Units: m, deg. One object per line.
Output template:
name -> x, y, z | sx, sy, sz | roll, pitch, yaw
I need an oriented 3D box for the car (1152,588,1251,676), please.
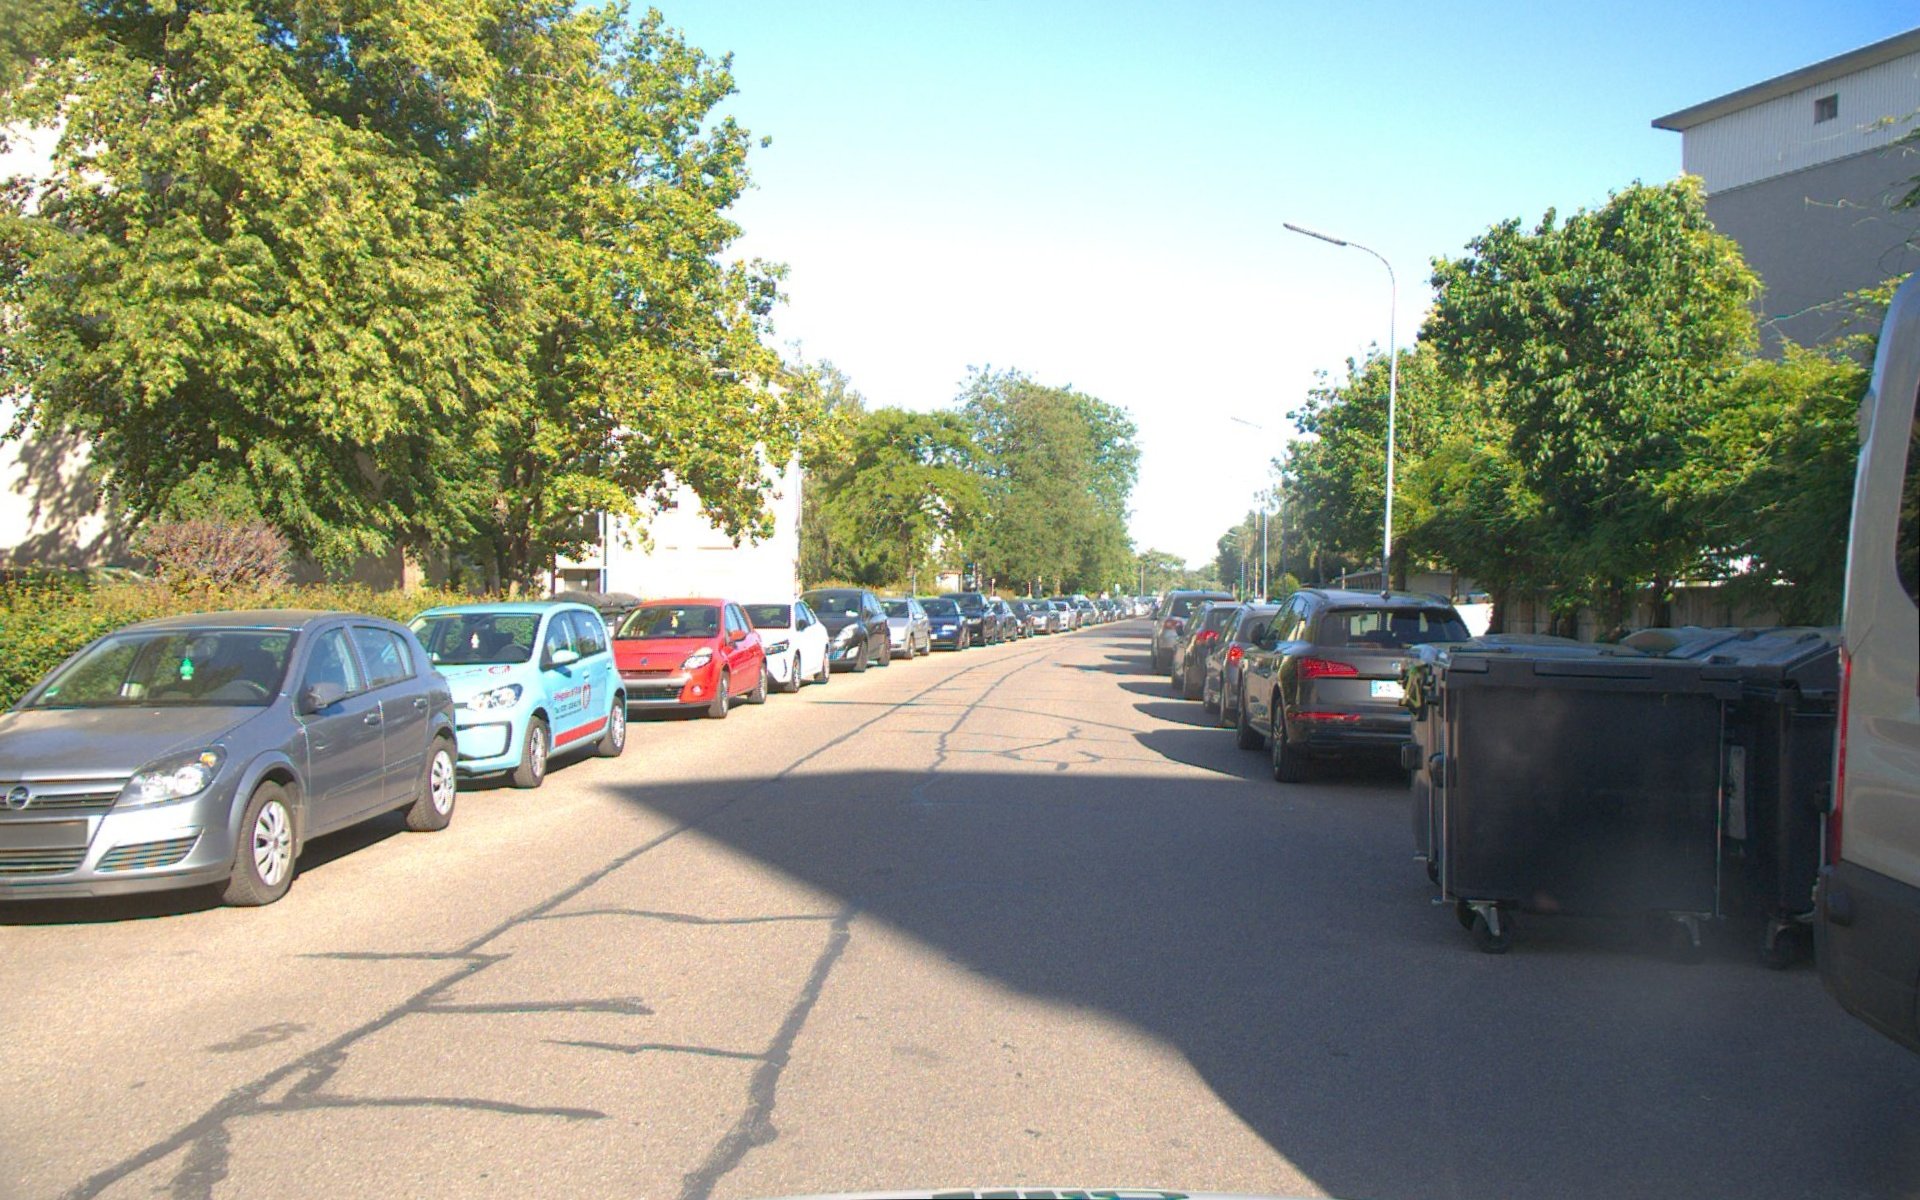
car -> 4.861, 0.600, 33.782 | 1.693, 1.647, 4.236 | 1, 0, 4

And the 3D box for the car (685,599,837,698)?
car -> -3.160, 0.742, 27.014 | 1.635, 1.446, 3.904 | -1, 0, 6

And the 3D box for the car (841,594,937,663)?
car -> -1.660, 0.651, 40.075 | 1.625, 1.512, 4.056 | -2, 0, 7

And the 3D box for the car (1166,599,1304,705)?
car -> 4.319, 0.766, 26.523 | 1.647, 1.482, 4.293 | 2, 0, 3

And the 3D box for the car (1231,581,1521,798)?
car -> 3.721, 0.711, 15.581 | 1.772, 1.693, 4.464 | 2, 0, 3

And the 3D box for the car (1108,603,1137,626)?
car -> 12.251, 1.075, 124.539 | 1.785, 1.491, 4.238 | 1, 2, 11

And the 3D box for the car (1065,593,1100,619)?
car -> 6.922, 0.314, 93.227 | 1.477, 1.405, 3.470 | -2, 0, 11

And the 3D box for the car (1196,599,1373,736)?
car -> 4.045, 0.786, 21.135 | 1.649, 1.513, 3.826 | 2, 0, 3

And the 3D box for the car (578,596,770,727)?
car -> -3.615, 0.729, 21.508 | 1.635, 1.500, 3.680 | -1, 0, 3

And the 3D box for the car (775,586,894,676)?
car -> -2.477, 0.575, 33.757 | 1.635, 1.696, 4.409 | -1, 0, 6

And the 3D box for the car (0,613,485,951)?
car -> -4.181, 0.849, 9.499 | 1.636, 1.462, 4.001 | -1, 0, 1

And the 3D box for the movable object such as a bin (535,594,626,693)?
movable object such as a bin -> -6.054, 0.676, 26.487 | 1.088, 1.524, 1.409 | 0, 1, 2

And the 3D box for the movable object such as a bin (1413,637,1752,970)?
movable object such as a bin -> 2.796, 0.883, 7.607 | 1.242, 1.336, 1.123 | -1, 2, 9

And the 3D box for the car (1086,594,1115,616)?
car -> 9.157, 0.344, 107.867 | 1.477, 1.352, 3.470 | -2, 0, 11

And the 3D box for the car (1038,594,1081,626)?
car -> 4.661, 0.440, 77.264 | 1.477, 1.388, 3.470 | -2, 0, 11

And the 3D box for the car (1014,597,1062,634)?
car -> 3.354, 0.644, 70.959 | 1.477, 1.476, 3.694 | -2, 0, 11

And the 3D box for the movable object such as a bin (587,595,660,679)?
movable object such as a bin -> -6.003, 0.641, 29.563 | 0.967, 1.443, 1.315 | 0, 1, 3

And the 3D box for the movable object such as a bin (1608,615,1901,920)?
movable object such as a bin -> 4.171, 0.836, 8.802 | 1.068, 1.474, 1.171 | 2, -1, 7

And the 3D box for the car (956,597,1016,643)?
car -> 0.924, 0.666, 56.804 | 1.625, 1.464, 3.763 | -2, 0, 7

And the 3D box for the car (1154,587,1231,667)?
car -> 5.411, 0.589, 38.884 | 1.618, 1.728, 4.236 | 1, 0, 6

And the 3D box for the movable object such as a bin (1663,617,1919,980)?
movable object such as a bin -> 3.999, 0.841, 7.546 | 1.084, 1.444, 1.361 | 2, 1, 7

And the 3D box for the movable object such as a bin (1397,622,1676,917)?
movable object such as a bin -> 2.997, 0.838, 8.762 | 1.202, 1.421, 1.171 | 0, 0, 9

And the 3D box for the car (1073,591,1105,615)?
car -> 7.775, 0.165, 99.183 | 1.477, 1.352, 3.470 | -2, 0, 11

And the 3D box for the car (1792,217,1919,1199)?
car -> 3.439, 0.330, 1.814 | 2.061, 2.529, 5.856 | 1, 0, 0

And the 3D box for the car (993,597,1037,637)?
car -> 2.154, 0.645, 64.248 | 1.359, 1.438, 3.128 | -2, 0, 8

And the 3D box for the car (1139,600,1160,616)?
car -> 19.043, 0.807, 165.815 | 1.785, 1.491, 4.238 | 1, 2, 11

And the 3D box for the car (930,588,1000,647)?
car -> 0.196, 0.510, 51.312 | 1.625, 1.718, 4.052 | -2, 0, 7

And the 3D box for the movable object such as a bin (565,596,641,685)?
movable object such as a bin -> -6.077, 0.673, 28.201 | 0.967, 1.443, 1.315 | 0, 1, 2

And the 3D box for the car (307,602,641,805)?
car -> -4.084, 0.796, 14.525 | 1.635, 1.500, 3.680 | -1, 0, 3

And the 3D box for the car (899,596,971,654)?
car -> -0.649, 0.654, 45.718 | 1.625, 1.451, 4.051 | -2, 0, 4
